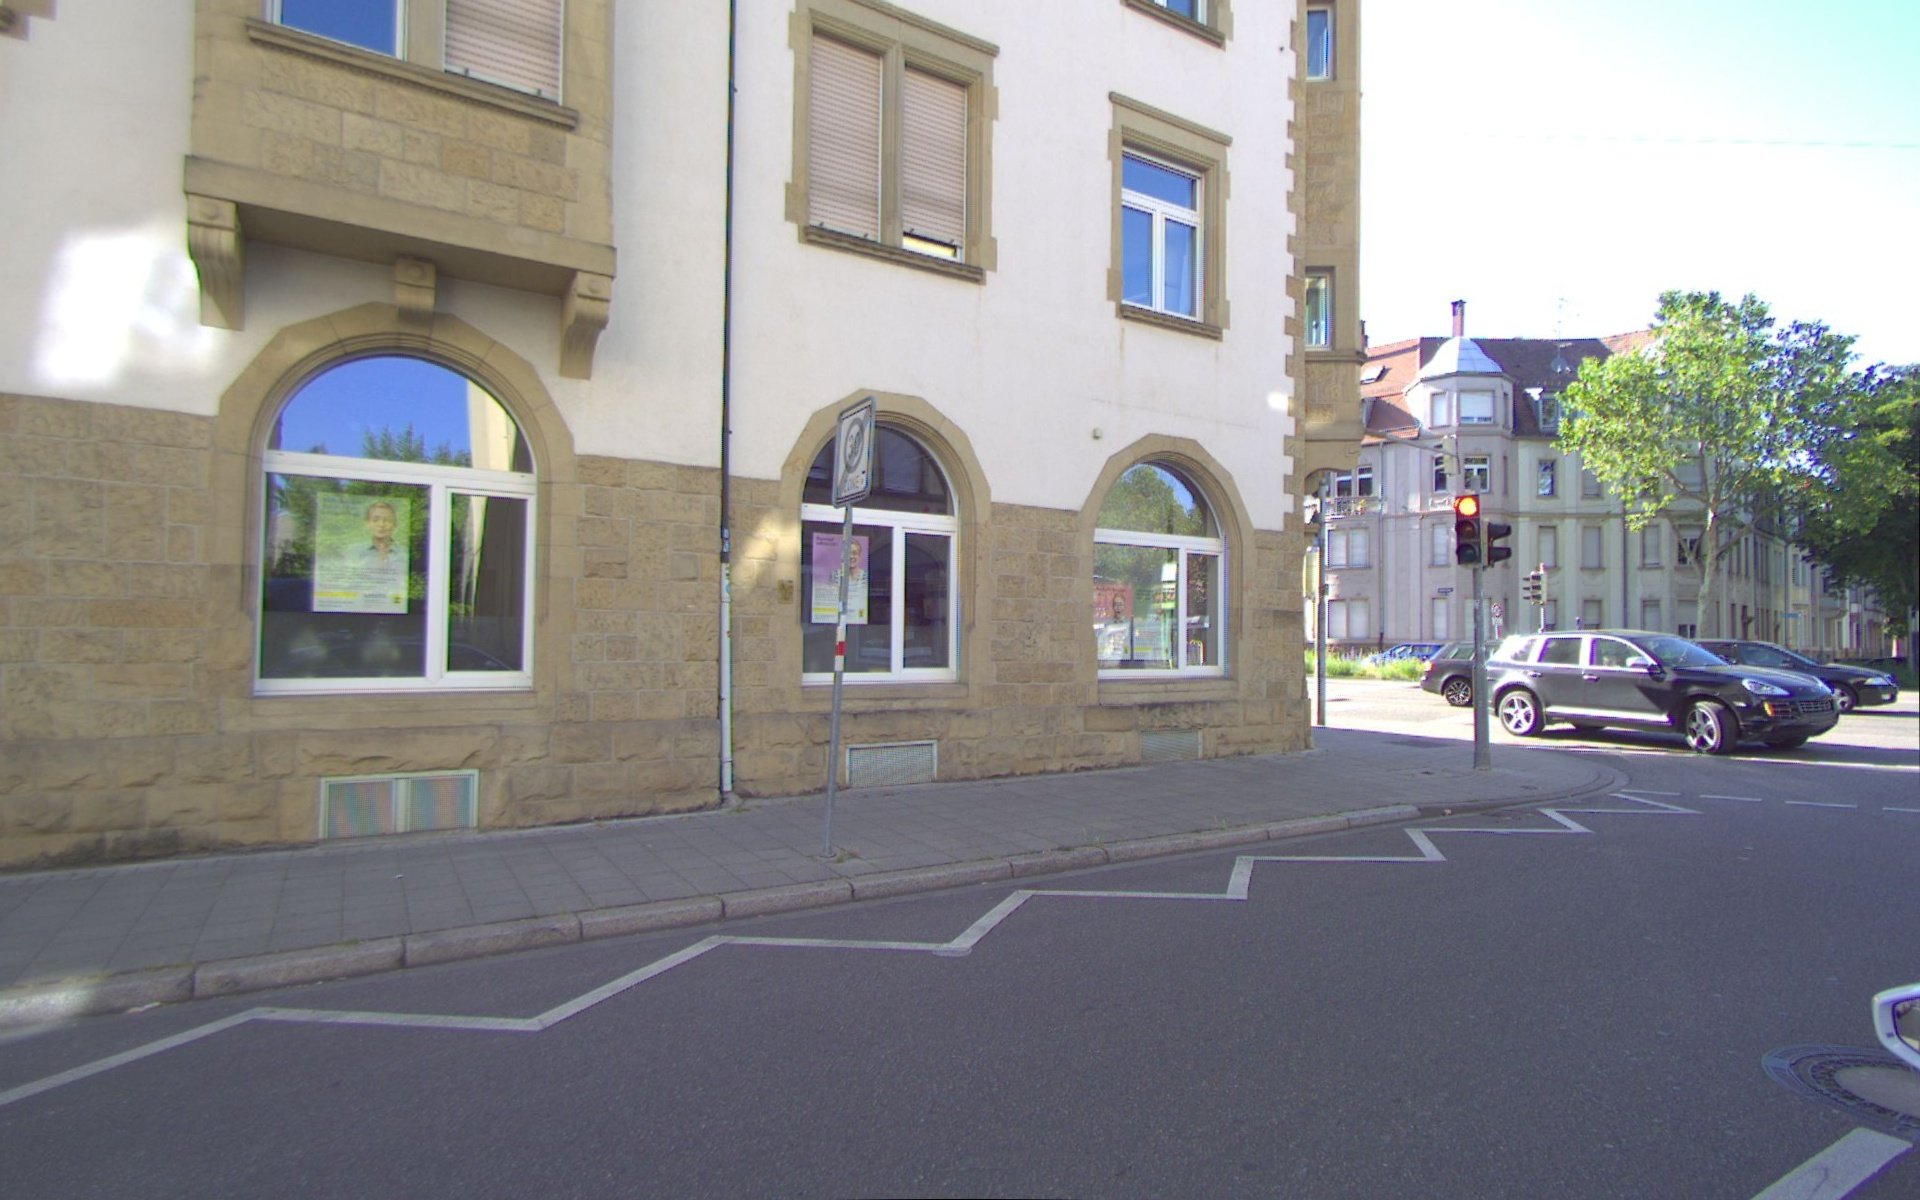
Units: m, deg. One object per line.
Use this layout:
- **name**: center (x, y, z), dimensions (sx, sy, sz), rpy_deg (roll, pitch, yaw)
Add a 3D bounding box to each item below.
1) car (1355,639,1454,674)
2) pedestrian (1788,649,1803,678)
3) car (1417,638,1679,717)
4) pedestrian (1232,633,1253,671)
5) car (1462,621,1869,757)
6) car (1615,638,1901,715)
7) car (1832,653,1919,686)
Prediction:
- **car**: center (19.610, 2.470, 44.359), dimensions (3.736, 1.419, 1.638), rpy_deg (-1, -2, 40)
- **pedestrian**: center (42.709, 3.233, 51.354), dimensions (0.483, 1.461, 0.701), rpy_deg (2, 0, 44)
- **car**: center (12.437, 1.576, 21.491), dimensions (1.719, 1.475, 4.571), rpy_deg (2, -3, -45)
- **pedestrian**: center (15.363, 2.817, 54.629), dimensions (0.826, 2.040, 0.748), rpy_deg (2, 0, 44)
- **car**: center (10.439, 1.263, 15.361), dimensions (2.051, 1.716, 4.682), rpy_deg (1, -3, -24)
- **car**: center (17.019, 1.553, 21.613), dimensions (1.967, 1.475, 4.576), rpy_deg (2, -3, -42)
- **car**: center (45.448, 3.412, 49.500), dimensions (1.647, 1.476, 3.595), rpy_deg (2, -2, -44)
